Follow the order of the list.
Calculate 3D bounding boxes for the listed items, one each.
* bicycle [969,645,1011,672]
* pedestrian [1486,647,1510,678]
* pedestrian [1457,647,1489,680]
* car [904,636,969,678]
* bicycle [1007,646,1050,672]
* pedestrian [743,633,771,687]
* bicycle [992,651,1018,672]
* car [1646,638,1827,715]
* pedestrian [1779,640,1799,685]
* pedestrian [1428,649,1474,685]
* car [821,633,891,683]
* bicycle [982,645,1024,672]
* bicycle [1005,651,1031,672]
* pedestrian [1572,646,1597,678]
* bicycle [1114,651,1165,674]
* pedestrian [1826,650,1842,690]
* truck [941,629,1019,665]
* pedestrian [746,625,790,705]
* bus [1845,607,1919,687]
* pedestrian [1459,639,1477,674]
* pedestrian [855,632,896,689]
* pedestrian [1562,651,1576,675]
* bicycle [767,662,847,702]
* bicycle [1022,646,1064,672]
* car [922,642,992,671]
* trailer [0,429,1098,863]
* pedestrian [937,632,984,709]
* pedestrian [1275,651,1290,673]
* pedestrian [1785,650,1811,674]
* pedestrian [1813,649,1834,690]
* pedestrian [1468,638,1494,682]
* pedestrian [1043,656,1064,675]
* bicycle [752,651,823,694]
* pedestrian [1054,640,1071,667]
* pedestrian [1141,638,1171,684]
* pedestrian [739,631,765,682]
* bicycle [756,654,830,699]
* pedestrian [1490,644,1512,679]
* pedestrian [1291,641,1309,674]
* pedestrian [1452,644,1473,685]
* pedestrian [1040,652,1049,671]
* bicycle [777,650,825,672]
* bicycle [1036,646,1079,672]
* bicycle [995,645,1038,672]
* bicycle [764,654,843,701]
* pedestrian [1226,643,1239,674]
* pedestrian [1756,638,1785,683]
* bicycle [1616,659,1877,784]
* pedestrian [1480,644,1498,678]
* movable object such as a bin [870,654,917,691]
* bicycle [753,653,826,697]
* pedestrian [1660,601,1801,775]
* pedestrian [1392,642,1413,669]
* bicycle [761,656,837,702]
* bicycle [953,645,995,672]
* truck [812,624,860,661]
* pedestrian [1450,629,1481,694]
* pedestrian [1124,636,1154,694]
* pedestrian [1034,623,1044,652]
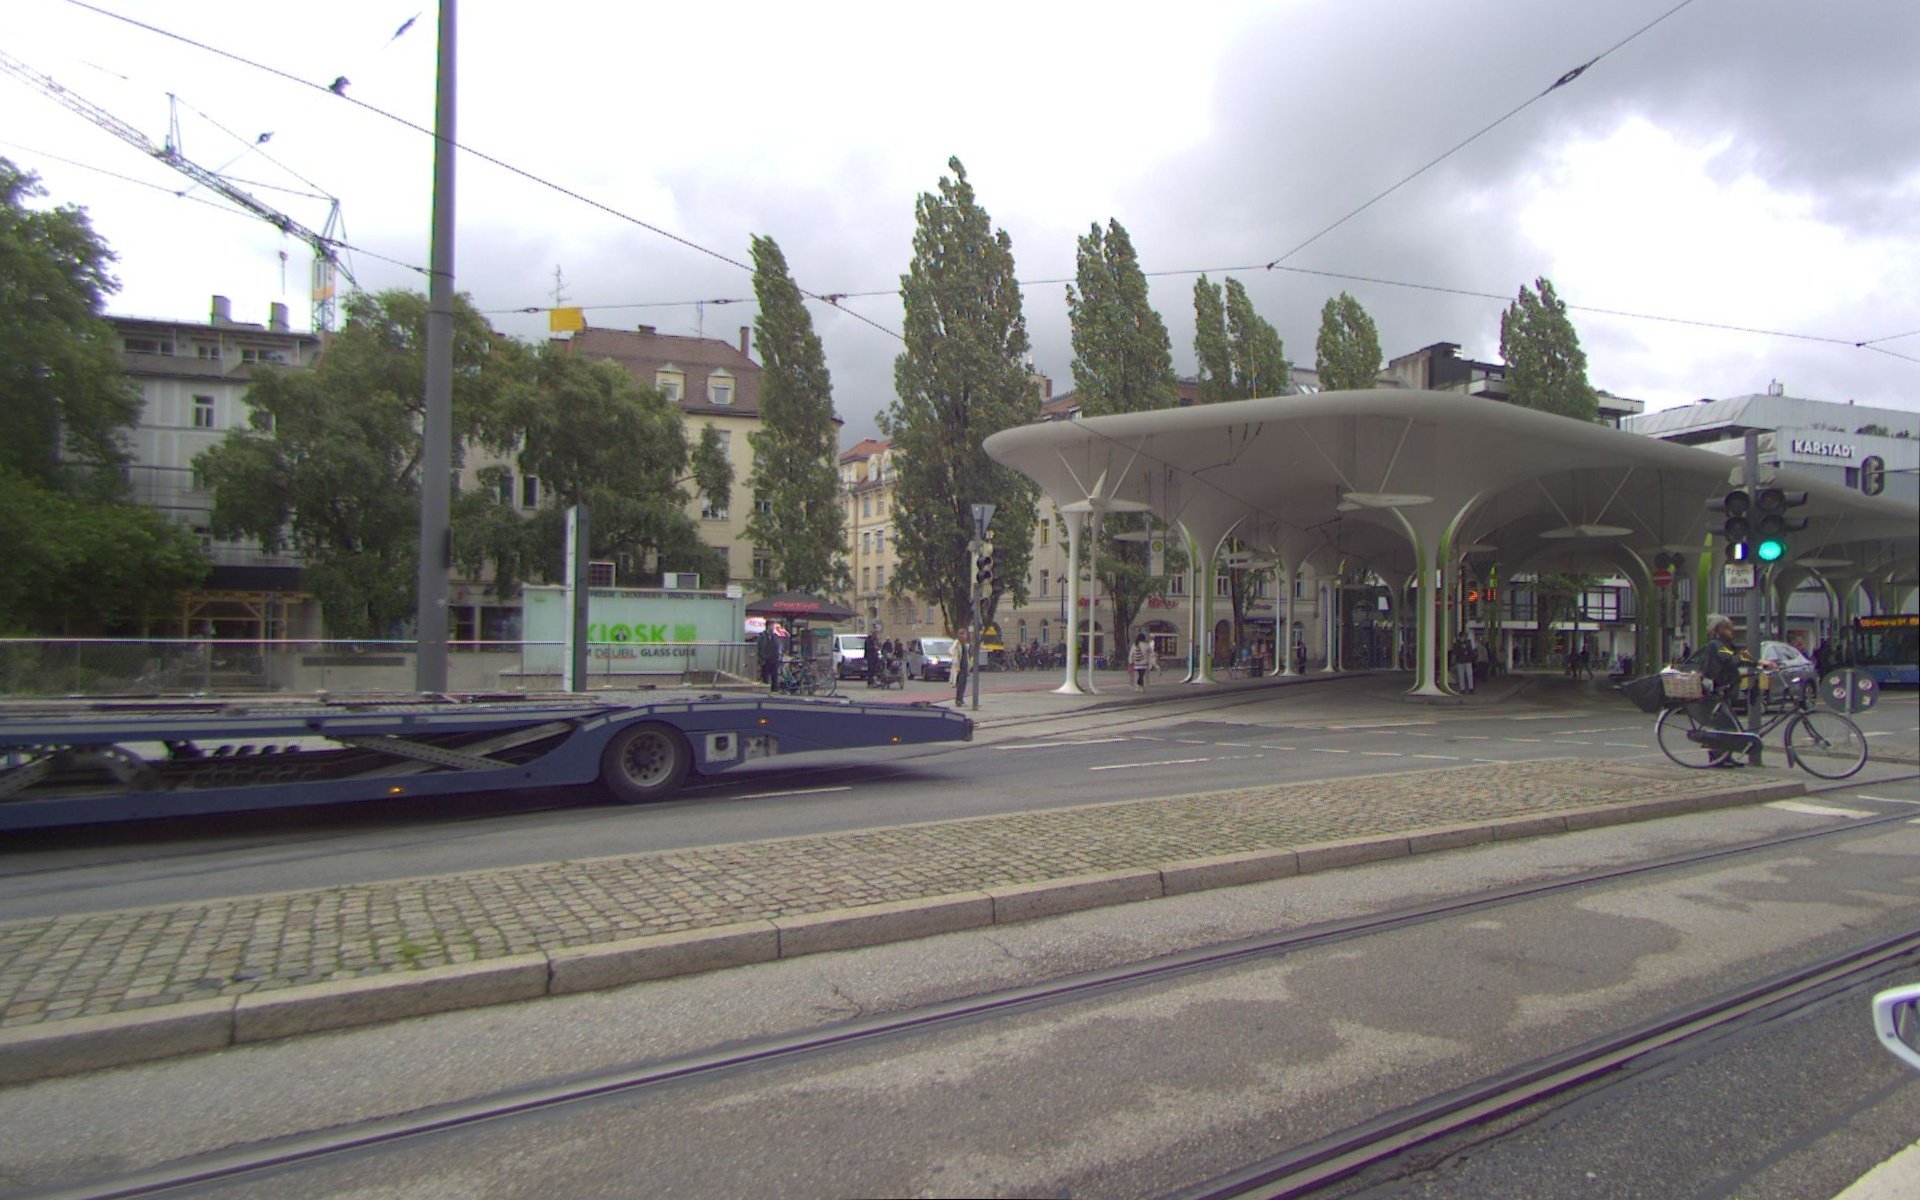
[{"bbox_3d":[1.883,3.765,64.739,0.989,1.634,3.597,2,-2,-29],"label":"bicycle"},{"bbox_3d":[27.240,3.156,50.859,0.888,1.528,0.738,2,-3,-37],"label":"pedestrian"},{"bbox_3d":[22.284,2.743,43.632,0.829,1.388,0.961,1,-2,-23],"label":"pedestrian"},{"bbox_3d":[-1.029,2.299,40.985,1.800,1.636,3.989,1,-2,-14],"label":"car"},{"bbox_3d":[4.503,3.851,66.202,0.989,1.634,3.597,2,-2,-29],"label":"bicycle"},{"bbox_3d":[-6.285,1.843,31.037,0.784,1.621,0.738,1,-2,-15],"label":"pedestrian"},{"bbox_3d":[2.639,3.627,59.313,0.727,1.149,2.677,1,-2,-15],"label":"bicycle"},{"bbox_3d":[18.381,1.774,23.734,4.626,1.659,1.854,2,-4,-32],"label":"car"},{"bbox_3d":[33.183,2.502,40.221,0.558,1.766,0.752,-1,-3,42],"label":"pedestrian"},{"bbox_3d":[17.611,2.385,36.013,1.248,1.246,0.811,1,-2,-12],"label":"pedestrian"},{"bbox_3d":[-4.455,2.376,42.295,1.842,1.973,4.911,1,-2,-19],"label":"car"},{"bbox_3d":[2.782,3.795,65.247,0.989,1.634,3.597,2,-2,-29],"label":"bicycle"},{"bbox_3d":[3.438,3.653,59.714,0.727,1.149,2.677,1,-2,-15],"label":"bicycle"},{"bbox_3d":[34.836,3.441,56.022,0.884,1.753,0.867,1,-2,-29],"label":"pedestrian"},{"bbox_3d":[10.783,3.764,60.396,2.886,1.331,0.841,1,-2,-6],"label":"bicycle"},{"bbox_3d":[35.736,2.862,41.078,0.387,1.626,0.390,2,-2,-35],"label":"pedestrian"},{"bbox_3d":[1.400,3.437,74.868,2.413,2.545,7.125,2,-3,-31],"label":"truck"},{"bbox_3d":[-4.268,1.427,22.310,0.847,1.739,0.733,1,-2,-20],"label":"pedestrian"},{"bbox_3d":[40.266,1.982,41.538,10.400,3.046,2.646,2,-4,-32],"label":"bus"},{"bbox_3d":[25.303,2.816,50.022,0.635,1.719,0.700,0,-2,11],"label":"pedestrian"},{"bbox_3d":[-2.709,1.932,32.200,0.947,1.785,1.022,2,-2,-33],"label":"pedestrian"},{"bbox_3d":[33.297,3.446,54.890,0.563,1.282,0.519,0,-2,21],"label":"pedestrian"},{"bbox_3d":[-3.632,1.943,23.877,1.823,0.906,0.478,2,-2,-23],"label":"bicycle"},{"bbox_3d":[5.485,3.882,66.697,0.989,1.634,3.597,2,-2,-29],"label":"bicycle"},{"bbox_3d":[-0.170,3.962,70.276,4.706,1.945,2.002,0,-2,7],"label":"car"},{"bbox_3d":[-5.692,0.382,8.039,15.468,2.717,2.596,2,-4,-32],"label":"trailer"},{"bbox_3d":[0.018,1.526,22.016,0.727,1.650,0.740,-1,-2,39],"label":"pedestrian"},{"bbox_3d":[16.654,3.207,51.856,0.573,1.098,0.513,2,-2,-38],"label":"pedestrian"},{"bbox_3d":[47.531,3.496,56.984,0.822,1.334,0.880,0,-2,16],"label":"pedestrian"},{"bbox_3d":[37.187,2.983,43.237,0.501,1.756,0.567,2,-2,-35],"label":"pedestrian"},{"bbox_3d":[20.854,2.395,40.205,0.799,1.750,0.669,-1,-3,44],"label":"pedestrian"},{"bbox_3d":[5.627,3.918,60.541,0.606,1.097,1.835,1,-2,-16],"label":"pedestrian"},{"bbox_3d":[-4.620,1.937,26.887,1.819,1.110,0.478,1,-2,-17],"label":"bicycle"},{"bbox_3d":[7.196,3.761,70.692,0.792,1.807,0.951,2,-2,-31],"label":"pedestrian"},{"bbox_3d":[8.891,2.753,45.583,1.010,2.040,1.002,1,-2,-14],"label":"pedestrian"},{"bbox_3d":[-6.780,1.833,32.723,0.784,1.621,0.738,1,-2,-15],"label":"pedestrian"},{"bbox_3d":[-4.260,1.945,25.665,1.819,1.110,0.478,1,-2,-17],"label":"bicycle"},{"bbox_3d":[26.059,2.960,48.412,0.691,1.639,0.644,1,-2,-26],"label":"pedestrian"},{"bbox_3d":[17.642,2.979,52.118,0.635,1.669,0.596,2,-2,-37],"label":"pedestrian"},{"bbox_3d":[19.572,2.508,39.120,0.586,1.565,0.634,-1,-3,42],"label":"pedestrian"},{"bbox_3d":[5.062,3.684,60.026,0.397,1.097,0.467,1,-2,-16],"label":"pedestrian"},{"bbox_3d":[-8.413,3.217,53.296,2.395,1.143,0.818,1,-2,-21],"label":"bicycle"},{"bbox_3d":[6.507,3.916,67.355,0.989,1.634,3.597,2,-2,-29],"label":"bicycle"},{"bbox_3d":[3.654,3.823,65.653,0.989,1.634,3.597,2,-2,-29],"label":"bicycle"},{"bbox_3d":[-3.801,1.867,24.406,1.821,1.110,0.478,1,-2,-20],"label":"bicycle"},{"bbox_3d":[16.245,3.471,59.963,0.546,1.838,0.556,1,-2,-19],"label":"pedestrian"},{"bbox_3d":[31.684,2.349,39.276,0.874,1.744,0.707,2,-2,-40],"label":"pedestrian"},{"bbox_3d":[8.537,1.287,11.029,2.193,1.165,0.505,1,-1,32],"label":"bicycle"},{"bbox_3d":[24.832,2.847,47.161,0.652,1.585,0.640,-1,-2,35],"label":"pedestrian"},{"bbox_3d":[-2.073,2.245,31.211,0.947,1.098,1.325,2,-2,-33],"label":"movable object such as a bin"},{"bbox_3d":[-4.437,1.941,26.159,1.819,1.110,0.478,1,-2,-17],"label":"bicycle"},{"bbox_3d":[8.490,0.948,11.095,0.882,1.835,0.858,2,-1,-14],"label":"pedestrian"},{"bbox_3d":[30.099,3.771,68.349,0.981,1.796,0.931,1,-2,-11],"label":"pedestrian"},{"bbox_3d":[-4.013,1.950,25.009,1.819,1.110,0.478,1,-2,-17],"label":"bicycle"},{"bbox_3d":[0.880,3.733,64.239,0.989,1.634,3.597,2,-2,-29],"label":"bicycle"},{"bbox_3d":[-9.326,3.131,75.106,2.259,2.657,5.324,1,-2,-22],"label":"truck"},{"bbox_3d":[14.723,1.780,29.255,0.652,1.863,0.811,0,-2,14],"label":"pedestrian"},{"bbox_3d":[5.154,1.851,28.896,0.822,1.630,0.748,0,-2,9],"label":"pedestrian"},{"bbox_3d":[5.551,2.627,70.561,0.561,2.040,0.670,0,-2,14],"label":"pedestrian"}]
